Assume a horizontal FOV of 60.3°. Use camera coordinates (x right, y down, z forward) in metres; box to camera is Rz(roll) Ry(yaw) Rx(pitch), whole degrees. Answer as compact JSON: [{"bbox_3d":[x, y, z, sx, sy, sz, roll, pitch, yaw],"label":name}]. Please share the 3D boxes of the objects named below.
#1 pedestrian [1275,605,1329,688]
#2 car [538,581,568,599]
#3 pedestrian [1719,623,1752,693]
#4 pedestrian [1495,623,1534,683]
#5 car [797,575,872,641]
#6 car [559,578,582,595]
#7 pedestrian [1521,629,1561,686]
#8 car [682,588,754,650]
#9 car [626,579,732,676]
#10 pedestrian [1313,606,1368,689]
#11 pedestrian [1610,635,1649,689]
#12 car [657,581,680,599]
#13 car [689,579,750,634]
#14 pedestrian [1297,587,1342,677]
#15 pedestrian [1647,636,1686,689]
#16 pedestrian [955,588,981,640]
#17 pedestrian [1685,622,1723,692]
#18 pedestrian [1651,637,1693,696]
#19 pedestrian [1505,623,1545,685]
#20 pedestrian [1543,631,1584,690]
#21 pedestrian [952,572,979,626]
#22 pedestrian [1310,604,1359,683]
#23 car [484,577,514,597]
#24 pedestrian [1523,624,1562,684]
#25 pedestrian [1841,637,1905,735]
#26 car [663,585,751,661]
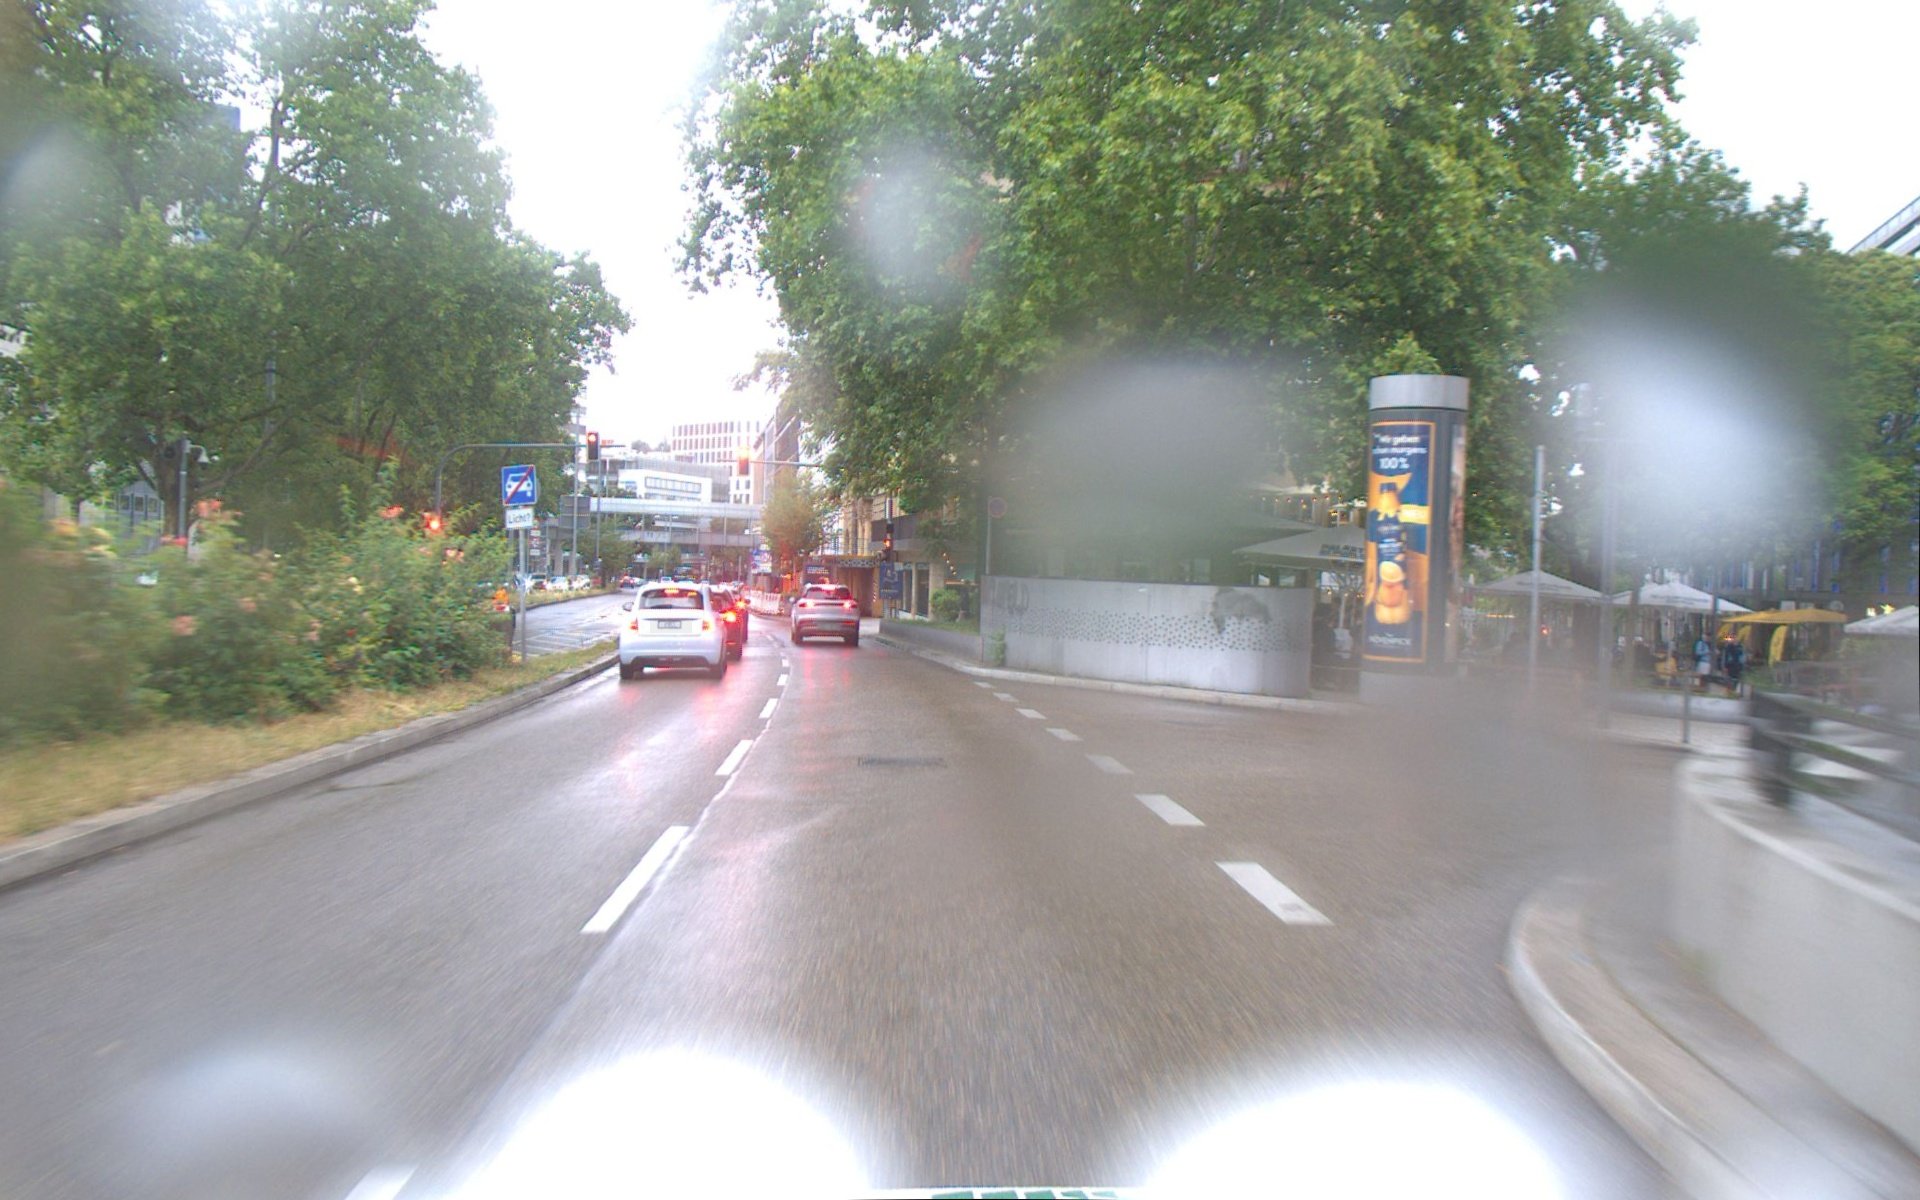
[{"bbox_3d":[6.158,0.829,29.829,0.671,1.434,0.904,4,-1,-2],"label":"pedestrian"},{"bbox_3d":[-33.849,-0.839,137.683,2.119,1.488,4.336,0,1,-9],"label":"car"},{"bbox_3d":[21.335,1.596,45.494,0.615,1.864,0.610,4,-1,13],"label":"pedestrian"},{"bbox_3d":[13.807,1.317,41.203,0.597,1.436,0.628,4,-1,-14],"label":"pedestrian"},{"bbox_3d":[-3.612,0.213,47.026,1.910,1.695,4.339,2,0,-7],"label":"car"},{"bbox_3d":[-36.598,-1.275,155.582,1.761,1.536,4.490,0,1,-9],"label":"car"},{"bbox_3d":[13.536,1.342,38.528,0.616,1.272,0.609,4,-1,-2],"label":"pedestrian"},{"bbox_3d":[-6.108,0.436,42.130,1.659,1.488,4.339,0,1,-7],"label":"car"},{"bbox_3d":[-4.683,0.418,27.895,1.560,1.517,3.500,0,1,-7],"label":"car"},{"bbox_3d":[6.863,0.848,29.891,0.671,1.434,0.904,4,-1,-2],"label":"pedestrian"},{"bbox_3d":[16.602,1.532,41.013,0.616,1.272,0.609,4,-1,-2],"label":"pedestrian"},{"bbox_3d":[-25.327,-0.866,143.934,1.942,1.488,4.336,0,1,-10],"label":"car"},{"bbox_3d":[-6.912,0.161,47.361,1.660,1.488,4.336,0,1,-9],"label":"car"},{"bbox_3d":[7.059,0.623,32.466,0.708,1.731,0.618,1,-1,24],"label":"pedestrian"},{"bbox_3d":[17.677,1.563,41.401,0.616,1.272,0.609,4,-1,-2],"label":"pedestrian"},{"bbox_3d":[0.269,0.494,59.340,0.842,1.811,0.717,1,0,-4],"label":"pedestrian"},{"bbox_3d":[20.557,1.573,45.708,0.730,1.864,0.610,4,-1,14],"label":"pedestrian"},{"bbox_3d":[16.169,1.508,37.554,0.616,1.272,0.609,4,-1,-2],"label":"pedestrian"},{"bbox_3d":[13.770,1.313,40.284,0.597,1.436,0.628,4,-1,-14],"label":"pedestrian"},{"bbox_3d":[13.741,1.371,37.666,0.616,1.272,0.609,4,-1,-2],"label":"pedestrian"},{"bbox_3d":[0.180,-0.038,56.912,0.842,1.811,0.717,1,0,-4],"label":"pedestrian"},{"bbox_3d":[7.078,0.813,31.302,0.671,1.434,0.660,4,-1,-2],"label":"pedestrian"},{"bbox_3d":[-35.849,-1.002,128.764,1.761,1.536,4.490,0,1,-9],"label":"car"},{"bbox_3d":[14.568,1.338,41.348,0.597,1.436,0.628,4,-1,-14],"label":"pedestrian"},{"bbox_3d":[17.630,1.651,31.952,0.677,1.811,0.874,3,0,4],"label":"pedestrian"},{"bbox_3d":[-5.260,0.433,34.794,1.659,1.488,4.124,0,1,-7],"label":"car"}]
